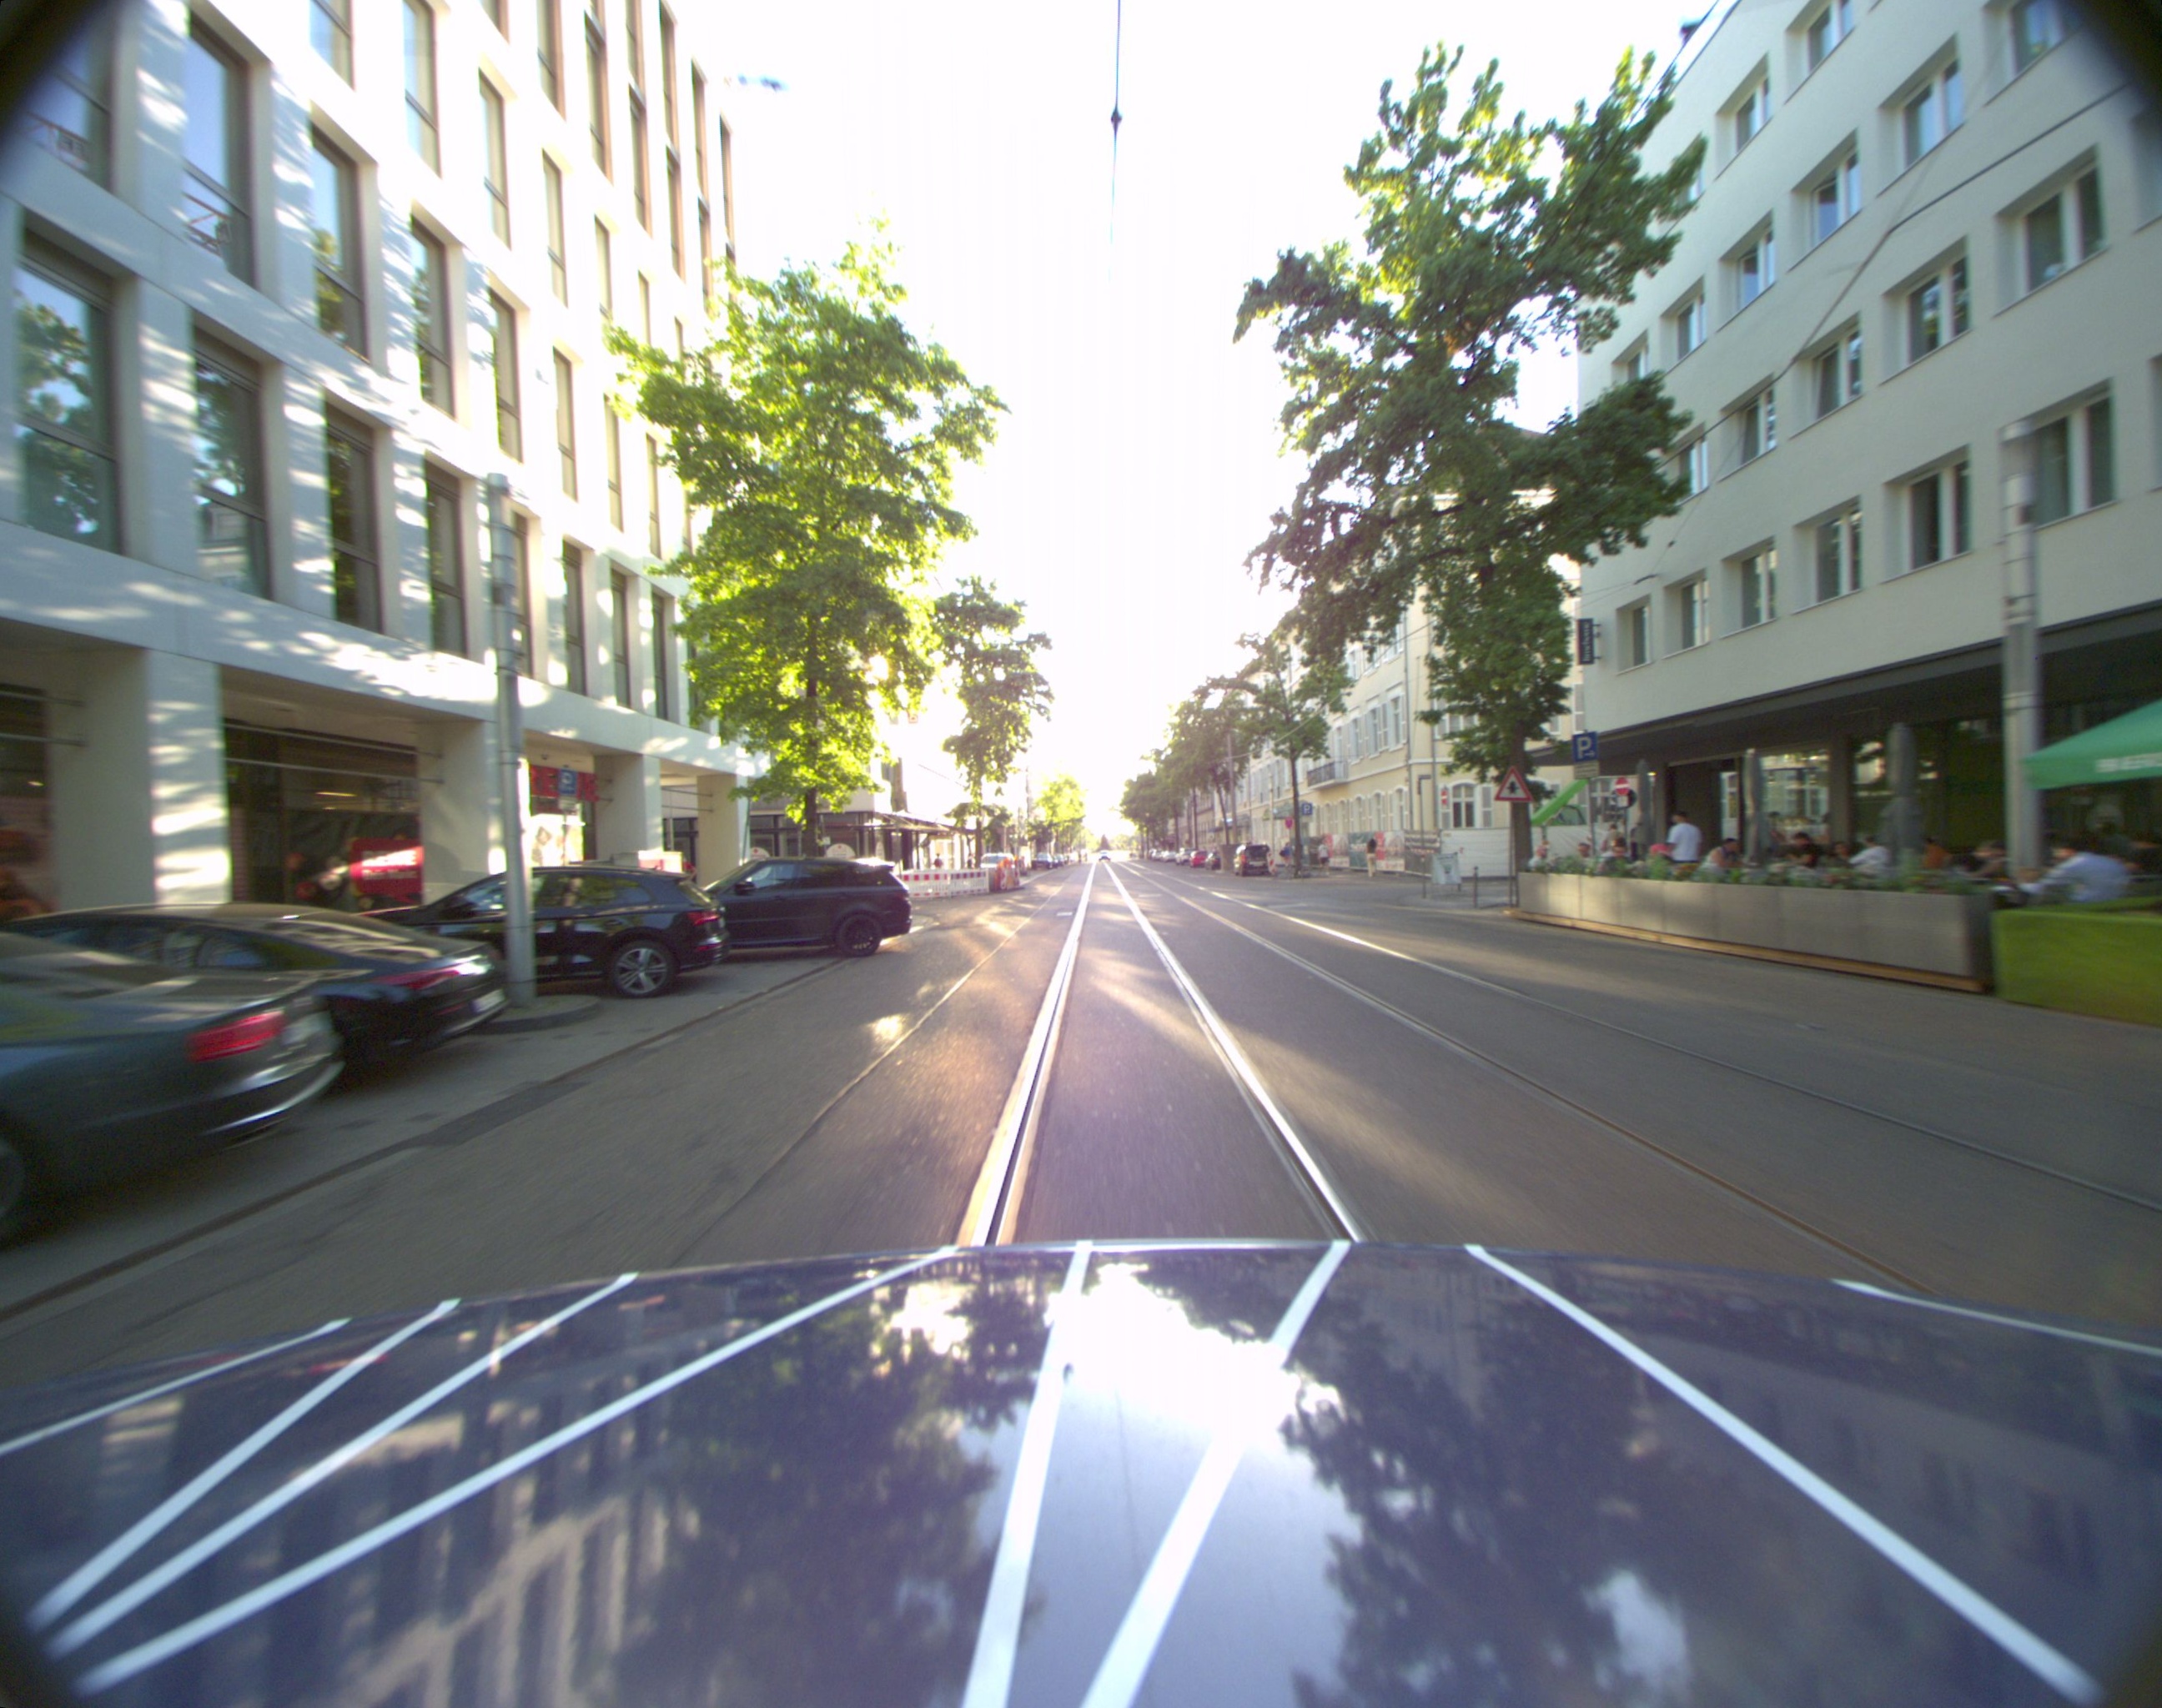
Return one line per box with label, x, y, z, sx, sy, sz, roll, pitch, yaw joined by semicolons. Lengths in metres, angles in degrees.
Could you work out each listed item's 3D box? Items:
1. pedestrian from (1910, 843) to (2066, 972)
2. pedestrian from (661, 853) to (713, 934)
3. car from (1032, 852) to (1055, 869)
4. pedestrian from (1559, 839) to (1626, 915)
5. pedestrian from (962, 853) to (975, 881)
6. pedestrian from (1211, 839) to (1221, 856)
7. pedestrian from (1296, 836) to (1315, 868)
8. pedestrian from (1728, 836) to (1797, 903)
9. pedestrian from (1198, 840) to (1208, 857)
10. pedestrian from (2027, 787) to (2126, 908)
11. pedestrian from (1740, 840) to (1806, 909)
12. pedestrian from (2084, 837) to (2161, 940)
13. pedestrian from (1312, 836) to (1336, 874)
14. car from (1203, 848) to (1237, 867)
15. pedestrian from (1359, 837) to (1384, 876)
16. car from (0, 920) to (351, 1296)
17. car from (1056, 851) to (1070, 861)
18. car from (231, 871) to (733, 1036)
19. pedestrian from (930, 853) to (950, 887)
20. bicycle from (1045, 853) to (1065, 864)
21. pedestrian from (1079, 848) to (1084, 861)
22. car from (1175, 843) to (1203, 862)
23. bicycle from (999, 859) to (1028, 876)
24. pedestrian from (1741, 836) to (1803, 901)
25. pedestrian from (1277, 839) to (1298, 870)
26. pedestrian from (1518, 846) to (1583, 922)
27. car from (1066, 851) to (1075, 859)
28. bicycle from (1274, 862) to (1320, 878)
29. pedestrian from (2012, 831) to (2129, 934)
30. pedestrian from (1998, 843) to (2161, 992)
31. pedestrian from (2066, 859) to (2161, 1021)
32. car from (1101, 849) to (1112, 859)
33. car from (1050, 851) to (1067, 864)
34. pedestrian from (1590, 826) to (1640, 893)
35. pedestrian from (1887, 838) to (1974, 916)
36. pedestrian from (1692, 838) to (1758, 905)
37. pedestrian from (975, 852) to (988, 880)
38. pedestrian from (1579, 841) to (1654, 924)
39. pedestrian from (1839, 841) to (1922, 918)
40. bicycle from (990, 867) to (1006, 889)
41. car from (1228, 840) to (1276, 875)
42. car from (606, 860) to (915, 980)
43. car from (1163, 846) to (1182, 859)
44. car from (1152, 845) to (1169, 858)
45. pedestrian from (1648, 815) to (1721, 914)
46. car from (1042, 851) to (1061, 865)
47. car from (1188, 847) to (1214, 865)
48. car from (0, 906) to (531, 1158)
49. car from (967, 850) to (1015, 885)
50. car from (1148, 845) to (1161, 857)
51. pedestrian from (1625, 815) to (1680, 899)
pedestrian;9.851;0.552;8.286;0.691;1.304;0.807;-4;1;2
pedestrian;-9.236;0.895;17.814;0.754;1.808;0.804;2;2;34
car;-3.790;0.621;77.611;1.985;1.679;4.873;1;0;1
pedestrian;9.901;0.432;14.738;0.691;1.378;0.807;-4;1;2
pedestrian;-7.379;0.830;50.019;0.690;1.820;0.635;-2;1;1
pedestrian;13.676;-0.663;77.219;0.746;1.571;0.933;-5;1;2
pedestrian;13.138;-0.093;44.419;0.721;1.802;0.876;-5;1;1
pedestrian;13.482;0.300;15.050;0.646;1.262;0.738;-4;1;2
pedestrian;12.414;-0.577;77.269;0.746;1.732;0.933;-5;1;2
pedestrian;15.527;-0.091;11.876;0.764;1.809;0.688;-3;1;41
pedestrian;12.825;0.372;14.102;0.553;1.228;0.687;-4;1;2
pedestrian;12.702;0.392;9.049;0.553;1.155;0.687;-4;1;2
pedestrian;11.910;0.042;37.292;0.776;1.782;0.984;-5;1;3
car;10.481;0.269;57.601;1.722;1.238;4.507;-5;0;1
pedestrian;12.703;0.095;33.221;0.709;1.646;0.967;-2;0;3
car;-6.748;1.194;3.172;5.070;1.460;1.972;0;1;-34
car;-2.644;0.261;112.483;1.798;1.502;3.986;1;1;2
car;-7.082;1.079;9.747;4.672;1.645;2.004;0;0;-22
pedestrian;-7.851;0.874;42.407;0.835;1.886;0.918;-1;1;4
bicycle;-3.203;0.572;92.041;2.325;1.181;0.751;-2;1;3
pedestrian;0.087;0.086;107.031;0.705;1.858;0.792;-2;1;0
car;10.750;-0.142;76.103;1.870;1.679;4.950;-5;0;-2
bicycle;-4.652;0.894;52.429;1.816;1.128;0.841;0;2;9
pedestrian;13.556;0.275;14.919;0.553;1.228;0.687;-4;1;2
pedestrian;12.143;0.033;44.620;0.867;1.771;0.884;-5;1;1
pedestrian;8.981;0.556;14.571;0.691;1.378;0.807;-4;1;2
car;-1.890;0.144;136.677;1.564;1.391;3.697;1;1;2
bicycle;10.073;0.753;35.530;1.799;0.605;1.282;-3;0;5
pedestrian;13.090;0.366;10.073;0.603;1.291;0.687;-4;1;2
pedestrian;9.797;0.586;7.411;0.709;1.339;0.781;-4;1;4
pedestrian;8.990;0.692;6.254;0.709;1.252;0.772;-4;1;4
car;4.304;-0.071;129.734;1.827;1.603;3.796;-2;1;2
car;-2.824;0.384;95.294;1.770;1.502;4.287;-2;0;2
pedestrian;14.235;0.148;20.279;0.864;1.730;0.799;-2;0;20
pedestrian;13.408;0.349;12.008;0.553;1.155;0.687;-4;1;2
pedestrian;12.822;0.343;15.145;0.628;1.274;0.727;-4;1;2
pedestrian;-6.604;0.807;50.238;0.707;1.820;0.635;-2;1;1
pedestrian;9.501;0.491;13.508;0.691;1.378;0.807;-4;1;2
pedestrian;12.800;0.395;12.181;0.553;1.155;0.687;-4;1;2
bicycle;-3.984;1.155;36.558;0.494;0.976;1.930;-2;1;0
car;9.861;0.167;44.069;1.862;1.821;4.559;-3;0;3
car;-5.479;1.004;13.313;4.674;1.753;1.990;0;1;-28
car;11.351;-0.155;94.460;1.897;1.458;4.617;-5;0;2
car;11.869;-0.353;113.889;1.952;1.731;4.765;-5;0;1
pedestrian;11.406;0.201;14.379;0.759;1.781;0.686;-4;1;-2
car;-3.340;0.479;85.556;1.871;1.502;4.242;0;1;-6
car;10.459;0.159;66.413;1.664;1.397;4.141;-5;0;2
car;-7.310;1.242;5.789;4.671;1.418;1.930;0;1;-19
car;-4.791;0.682;41.305;2.028;1.727;4.906;1;1;0
car;12.421;-0.530;128.755;1.931;1.946;4.765;-1;0;1
pedestrian;12.817;0.054;17.061;0.685;1.805;0.765;-4;1;17
